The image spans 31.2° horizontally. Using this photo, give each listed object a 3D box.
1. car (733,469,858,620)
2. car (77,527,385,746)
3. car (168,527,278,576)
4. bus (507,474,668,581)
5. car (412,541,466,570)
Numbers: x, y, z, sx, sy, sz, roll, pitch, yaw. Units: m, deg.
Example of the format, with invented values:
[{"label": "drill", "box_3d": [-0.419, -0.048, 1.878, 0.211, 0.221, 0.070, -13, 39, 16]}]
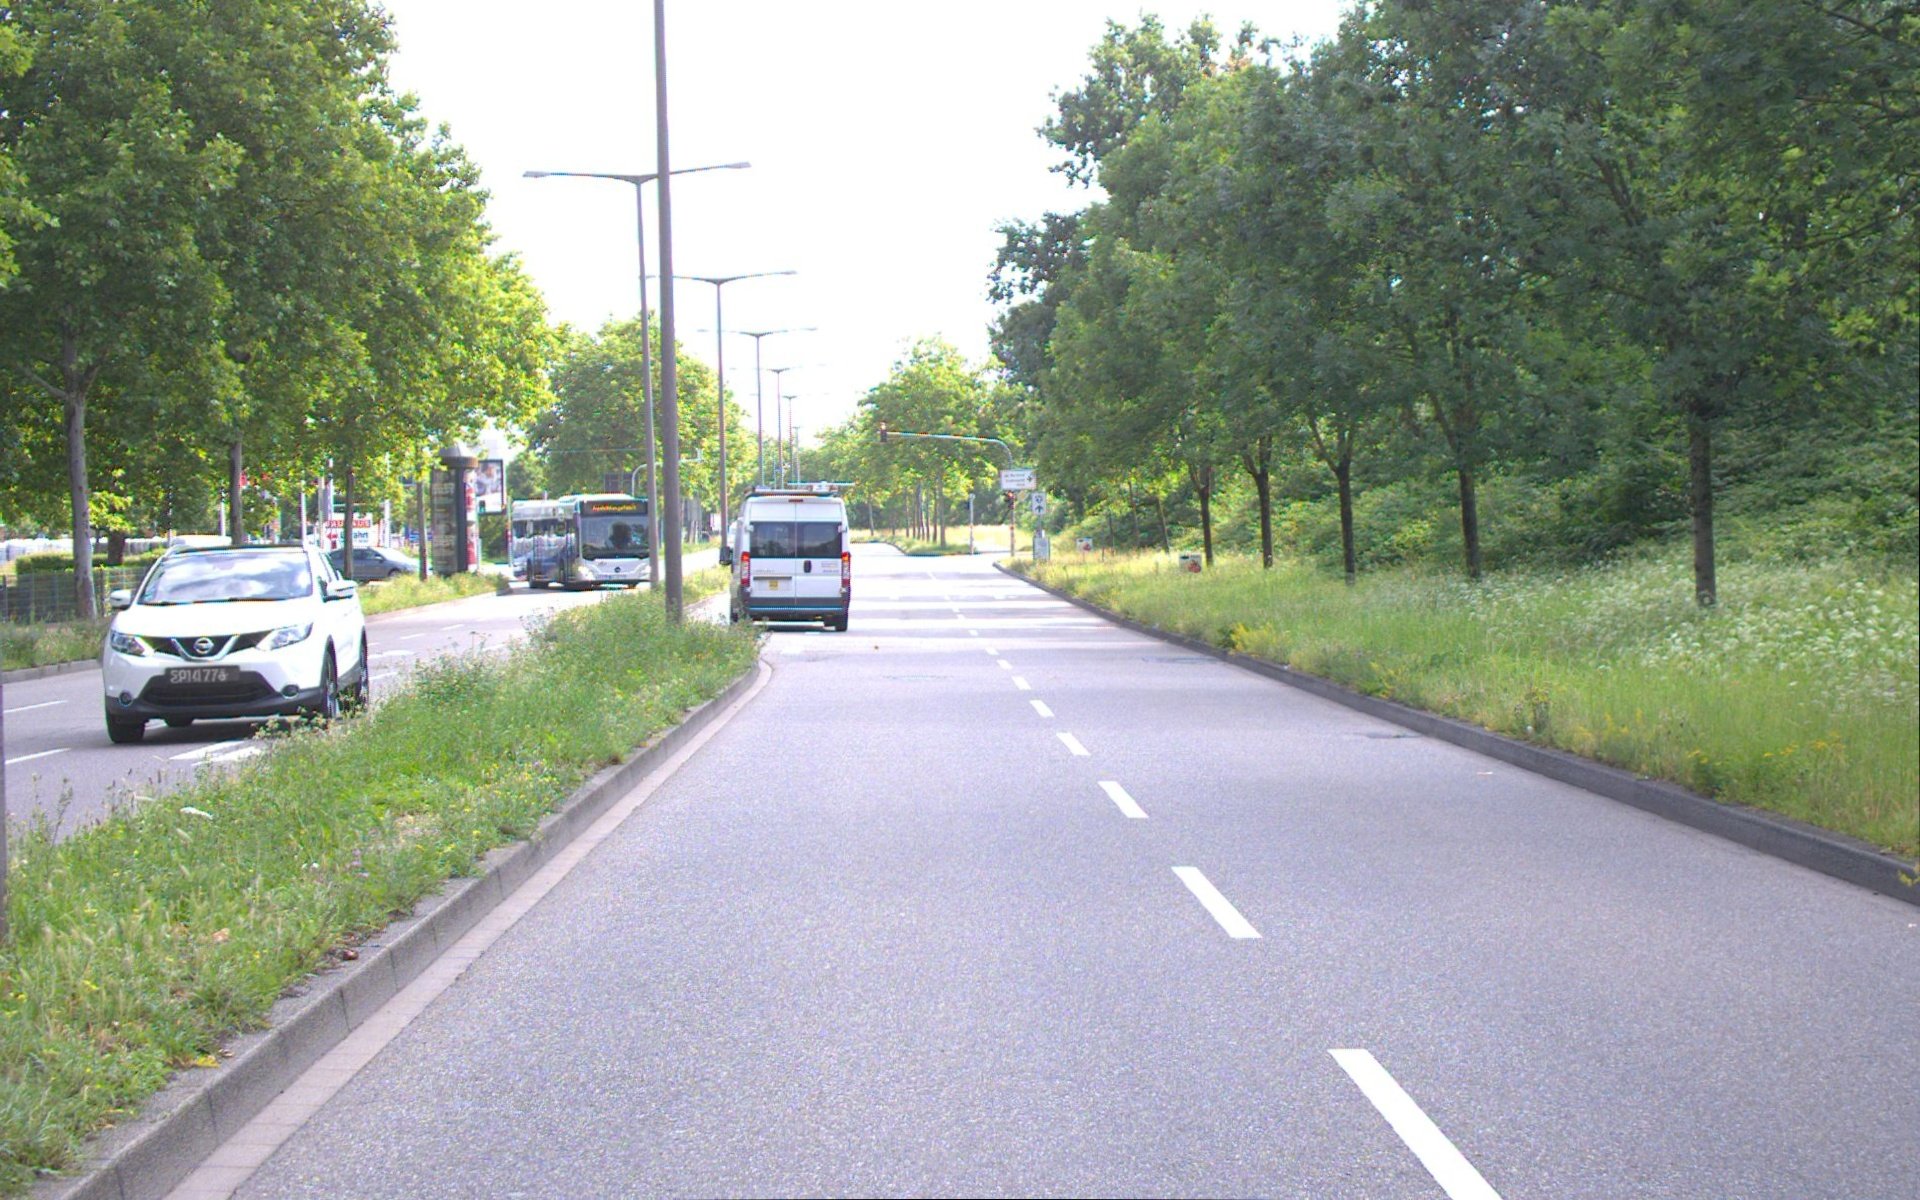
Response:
[{"label": "car", "box_3d": [-3.138, -1.058, 64.591, 2.197, 2.717, 4.932, 0, 1, -4]}, {"label": "car", "box_3d": [-6.097, 0.242, 29.219, 1.813, 1.634, 4.352, -3, 1, -3]}, {"label": "car", "box_3d": [-30.231, -1.984, 141.062, 3.988, 1.832, 1.864, 2, -3, -40]}, {"label": "bus", "box_3d": [-12.666, -2.364, 115.710, 3.108, 3.263, 12.341, -3, 1, -16]}, {"label": "car", "box_3d": [-19.686, -1.676, 129.984, 1.559, 1.037, 3.414, -1, 1, -1]}]
